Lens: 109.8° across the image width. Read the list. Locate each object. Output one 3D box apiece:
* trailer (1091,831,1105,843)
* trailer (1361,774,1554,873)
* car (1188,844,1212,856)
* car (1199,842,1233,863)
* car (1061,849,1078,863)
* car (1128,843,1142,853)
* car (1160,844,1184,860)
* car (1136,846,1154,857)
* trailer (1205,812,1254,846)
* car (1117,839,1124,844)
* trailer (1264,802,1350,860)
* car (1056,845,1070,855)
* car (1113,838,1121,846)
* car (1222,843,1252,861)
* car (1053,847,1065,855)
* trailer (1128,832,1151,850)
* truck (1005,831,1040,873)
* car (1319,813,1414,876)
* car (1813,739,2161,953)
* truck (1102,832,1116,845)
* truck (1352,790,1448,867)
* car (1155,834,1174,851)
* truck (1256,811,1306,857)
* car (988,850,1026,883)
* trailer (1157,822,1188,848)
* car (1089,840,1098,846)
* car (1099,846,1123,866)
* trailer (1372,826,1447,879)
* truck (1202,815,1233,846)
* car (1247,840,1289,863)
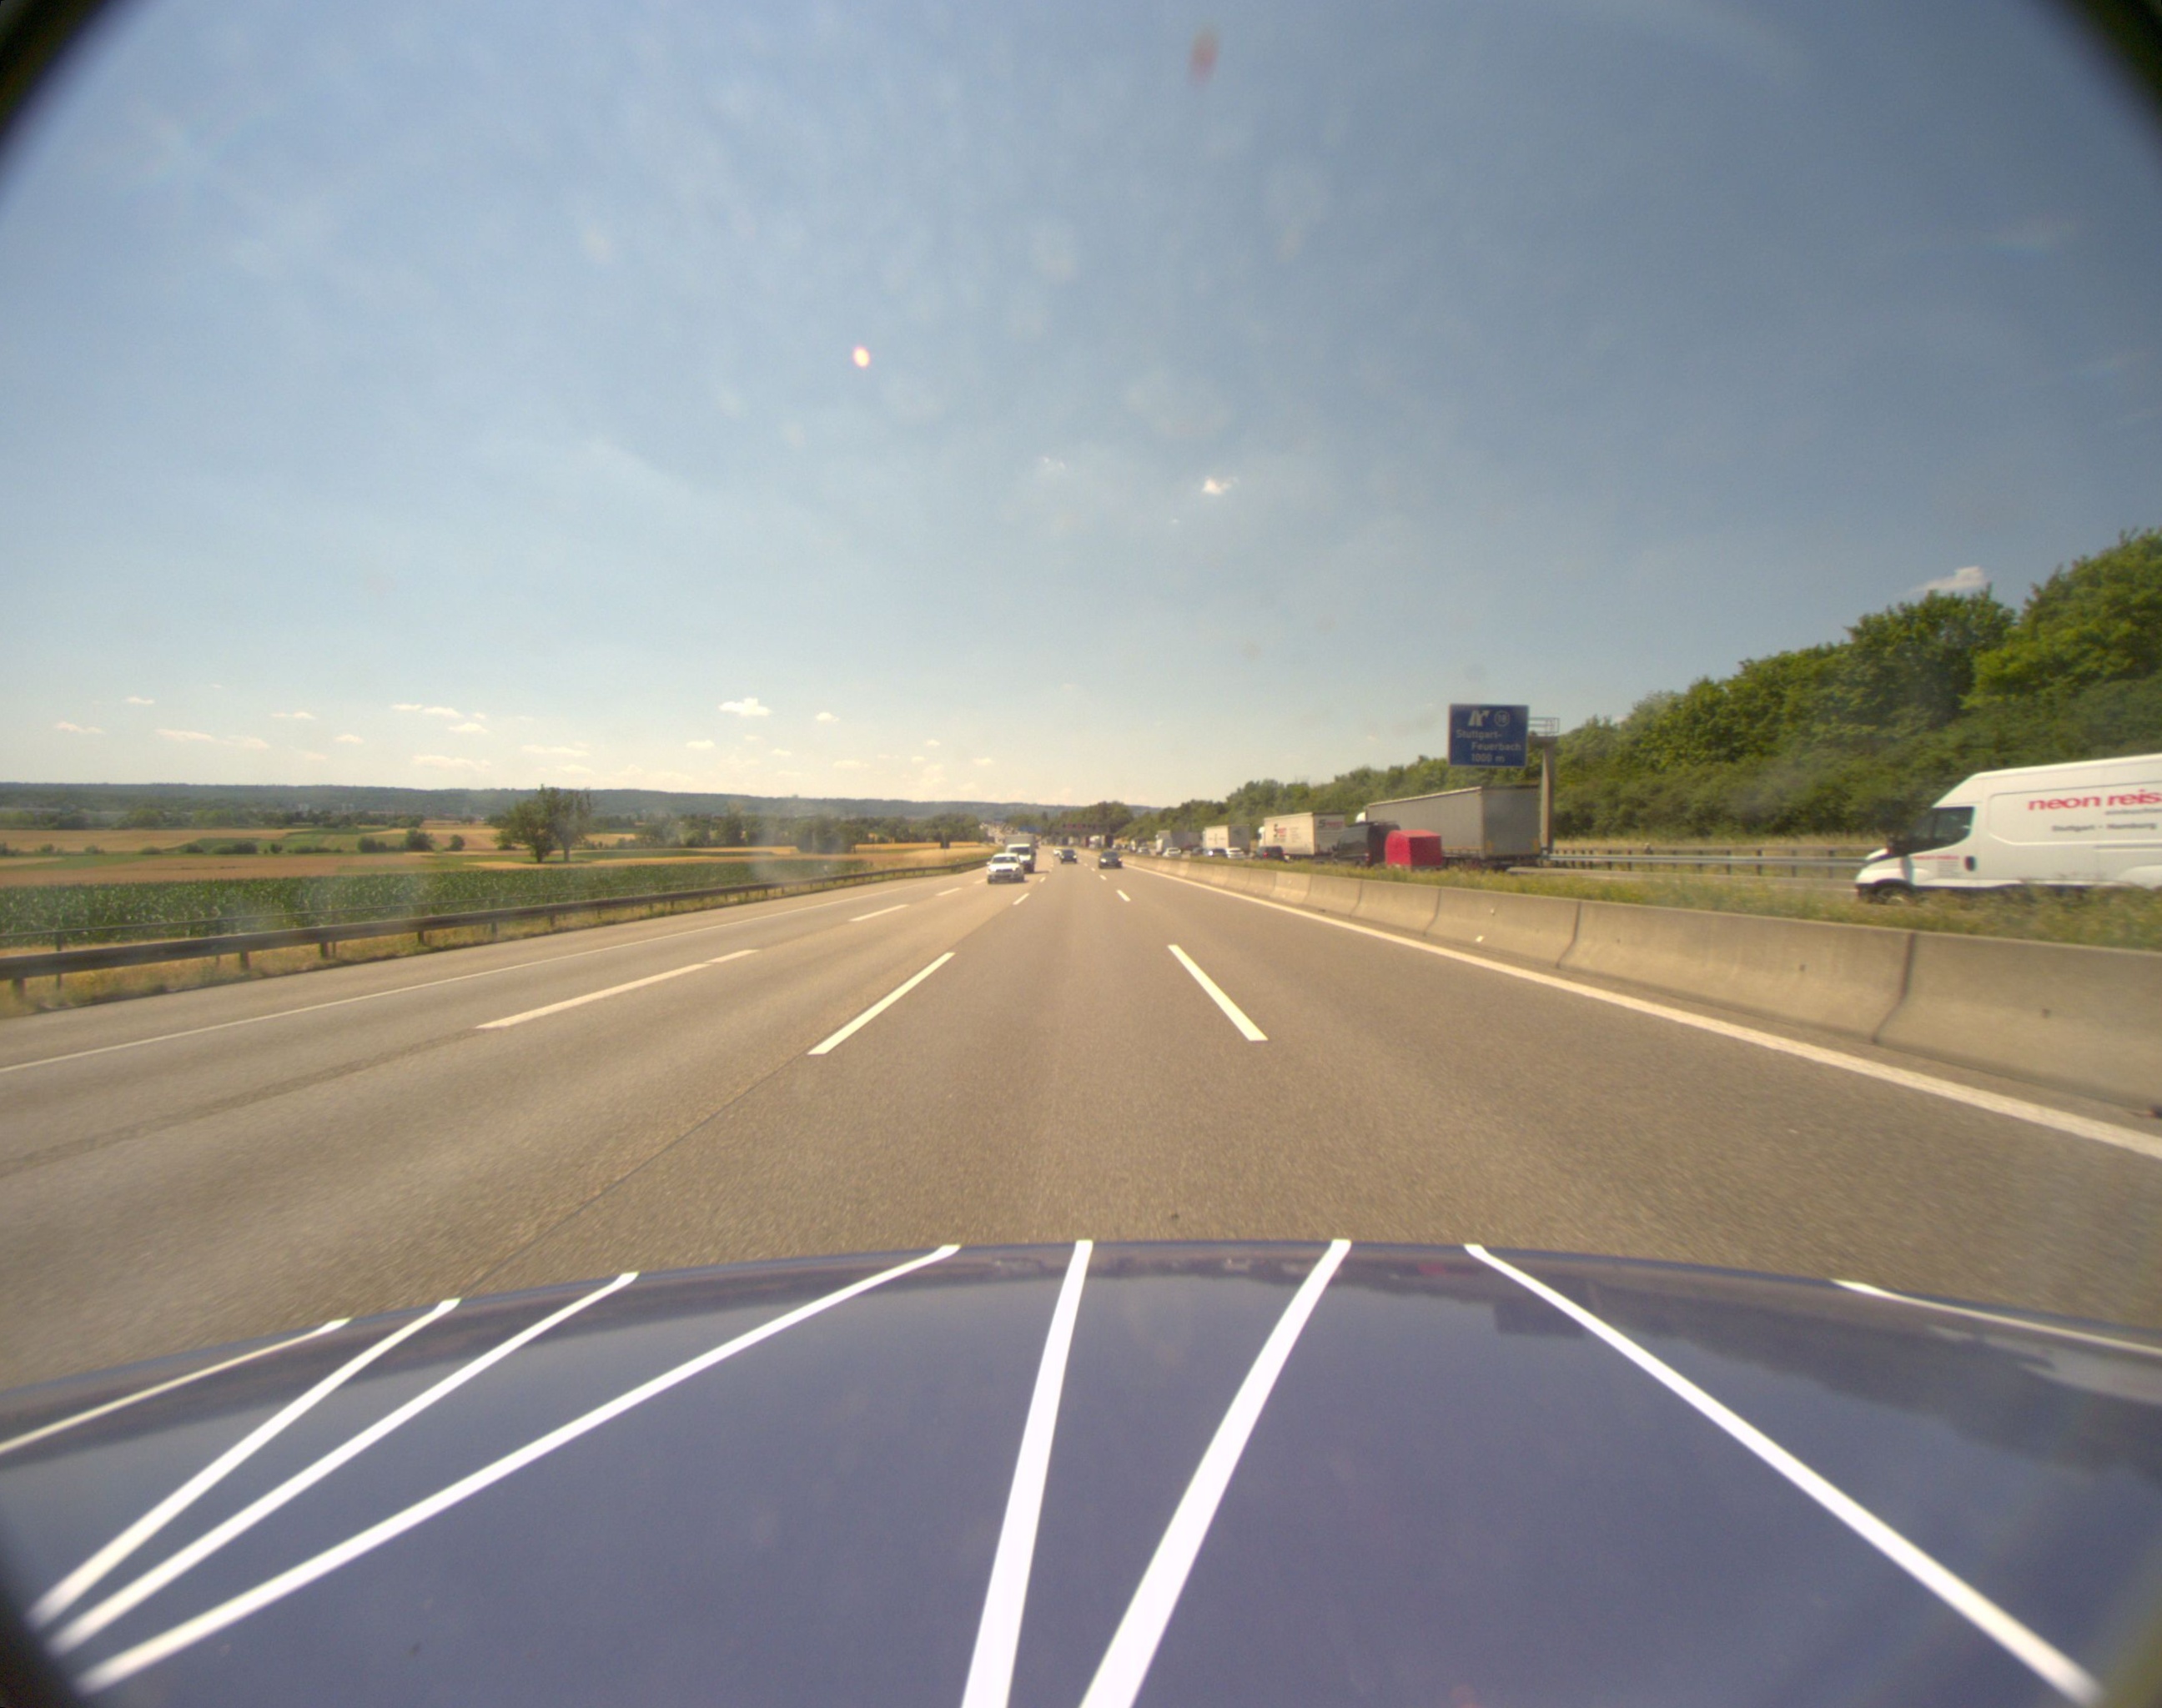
[{"bbox_3d":[5.719,-5.818,258.097,2.946,4.142,14.161,-2,2,-5],"label":"trailer"},{"bbox_3d":[18.985,-1.471,40.099,2.989,4.182,14.189,-2,1,0],"label":"trailer"},{"bbox_3d":[14.347,-0.494,91.956,1.881,1.426,4.923,-2,1,-2],"label":"car"},{"bbox_3d":[11.322,-0.131,64.111,1.937,1.678,4.795,-1,1,-1],"label":"car"},{"bbox_3d":[-1.386,0.210,88.045,1.866,1.426,3.998,-1,2,-3],"label":"car"},{"bbox_3d":[11.046,-1.241,155.435,2.113,1.713,4.928,-2,2,-4],"label":"car"},{"bbox_3d":[10.402,-0.290,86.938,1.999,1.634,4.404,-2,2,-2],"label":"car"},{"bbox_3d":[9.571,-0.425,113.808,1.999,1.570,4.593,-2,1,-2],"label":"car"},{"bbox_3d":[18.228,-2.992,94.436,2.911,3.851,13.871,-2,1,-1],"label":"trailer"},{"bbox_3d":[11.050,-3.509,213.659,1.751,1.396,4.210,-1,2,0],"label":"car"},{"bbox_3d":[18.753,-1.808,64.333,2.818,4.254,13.864,-2,1,-1],"label":"trailer"},{"bbox_3d":[-2.663,-0.632,110.854,1.866,1.322,3.999,-1,2,0],"label":"car"},{"bbox_3d":[8.656,-2.909,182.908,1.846,1.668,4.440,-1,2,1],"label":"car"},{"bbox_3d":[14.775,-0.211,72.235,1.886,1.466,4.404,-2,2,-1],"label":"car"},{"bbox_3d":[-4.174,-0.581,143.311,1.999,1.467,3.997,-2,2,-4],"label":"car"},{"bbox_3d":[11.324,-2.605,147.792,2.878,3.166,10.721,-2,2,-4],"label":"trailer"},{"bbox_3d":[-4.592,-0.213,59.789,2.446,3.011,6.912,-2,1,-4],"label":"truck"},{"bbox_3d":[14.805,-0.455,39.941,2.243,2.996,6.549,-1,0,-3],"label":"car"},{"bbox_3d":[15.064,-0.188,11.217,2.145,2.770,6.622,-2,2,0],"label":"car"},{"bbox_3d":[8.571,-4.835,232.337,3.017,3.895,10.349,-2,1,-4],"label":"truck"},{"bbox_3d":[19.052,-1.477,45.866,2.969,4.186,6.602,-2,1,1],"label":"truck"},{"bbox_3d":[13.055,-1.806,119.782,1.902,2.559,7.569,-2,1,-1],"label":"car"},{"bbox_3d":[18.552,-1.797,70.727,2.762,4.020,6.097,-2,1,-2],"label":"truck"},{"bbox_3d":[-4.085,0.660,42.478,1.837,1.636,4.171,-2,1,-2],"label":"car"},{"bbox_3d":[16.321,-3.412,136.290,3.231,4.396,13.772,-1,1,-3],"label":"trailer"},{"bbox_3d":[3.326,-2.902,203.539,1.999,1.437,4.789,-2,1,-4],"label":"car"},{"bbox_3d":[2.545,0.204,64.745,1.808,1.534,4.750,-1,-1,-1],"label":"car"},{"bbox_3d":[14.932,-0.065,34.750,1.573,2.240,3.960,-1,0,-3],"label":"trailer"},{"bbox_3d":[18.079,-3.065,100.875,2.856,3.984,5.972,-2,1,-1],"label":"truck"},{"bbox_3d":[14.938,-0.222,60.944,1.999,1.706,4.790,-2,1,-1],"label":"car"}]
